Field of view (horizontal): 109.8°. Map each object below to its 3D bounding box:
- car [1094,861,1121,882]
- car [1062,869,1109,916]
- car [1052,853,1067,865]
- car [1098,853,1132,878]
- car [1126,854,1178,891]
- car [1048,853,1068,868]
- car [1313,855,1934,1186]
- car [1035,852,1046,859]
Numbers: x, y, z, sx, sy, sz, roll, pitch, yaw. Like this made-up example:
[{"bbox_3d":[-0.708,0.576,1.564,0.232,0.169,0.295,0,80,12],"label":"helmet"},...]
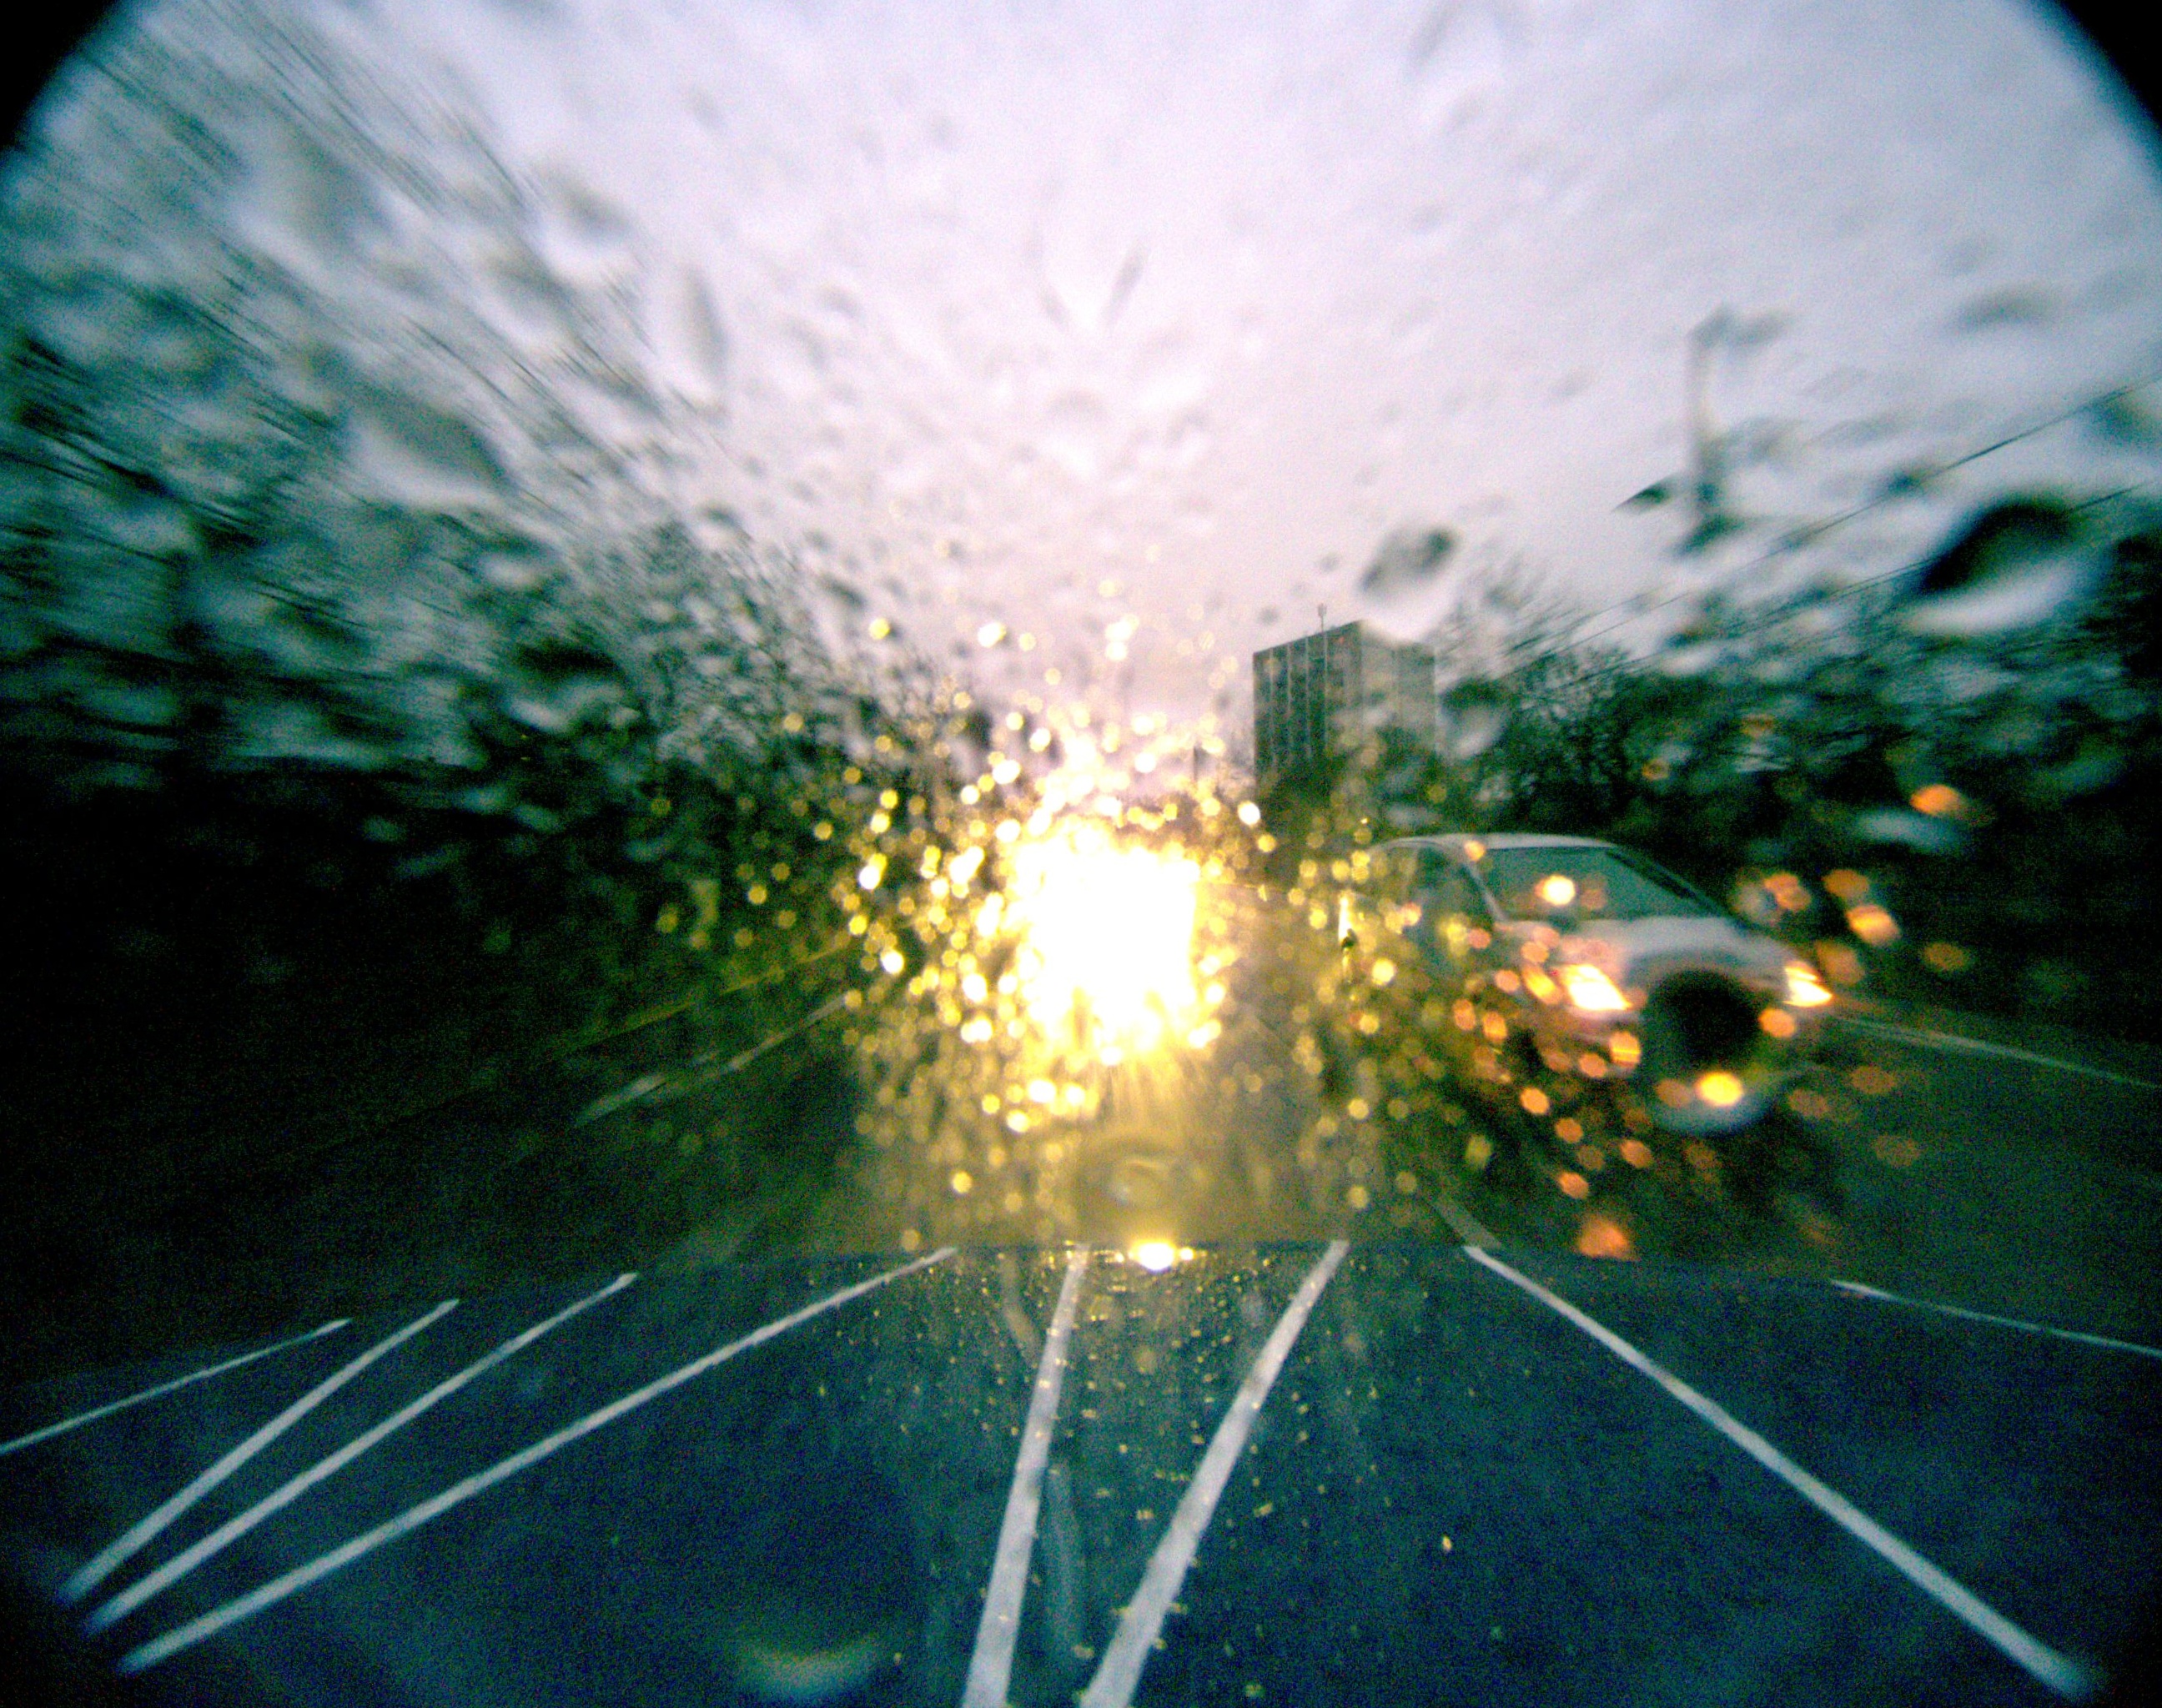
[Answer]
[{"bbox_3d":[2.366,1.570,68.864,1.999,1.652,3.998,-2,1,-4],"label":"car"},{"bbox_3d":[0.162,1.414,29.487,1.679,1.590,4.044,-1,0,0],"label":"car"},{"bbox_3d":[-3.069,0.726,106.139,1.953,1.590,4.123,-1,0,-3],"label":"car"},{"bbox_3d":[2.214,0.715,50.799,1.953,1.590,4.124,-1,0,-1],"label":"car"},{"bbox_3d":[3.231,0.791,35.314,1.953,1.590,4.124,-1,0,-1],"label":"car"},{"bbox_3d":[-2.468,0.668,80.864,1.953,1.590,4.123,-1,0,-3],"label":"car"},{"bbox_3d":[3.266,0.809,5.768,1.694,1.530,4.190,-2,0,0],"label":"car"},{"bbox_3d":[-8.510,0.316,158.048,1.954,1.590,4.121,-1,0,-7],"label":"car"}]
